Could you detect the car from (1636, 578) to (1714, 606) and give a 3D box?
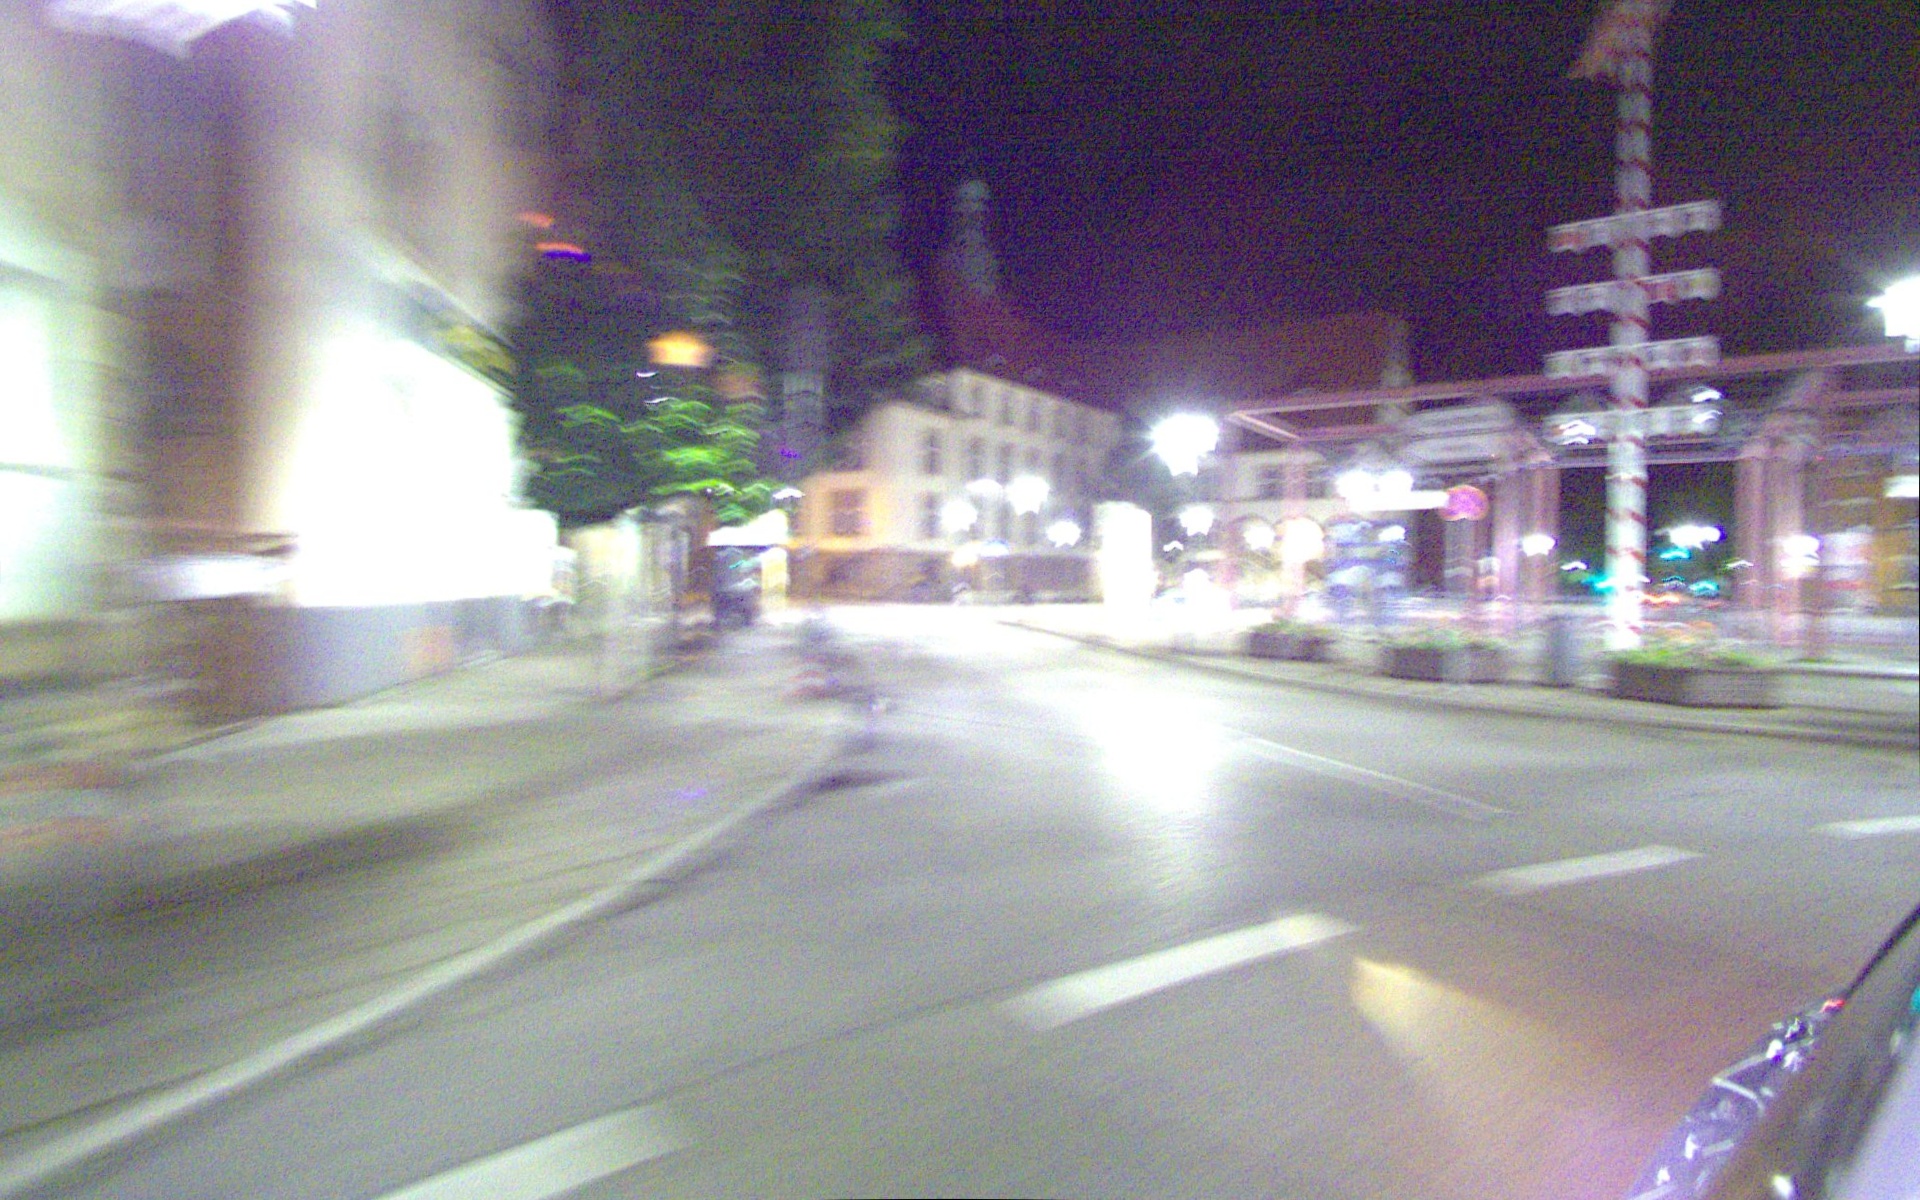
[{"bbox_3d":[50.781,-0.591,71.963,4.141,1.905,1.817,1,1,24],"label":"car"}]

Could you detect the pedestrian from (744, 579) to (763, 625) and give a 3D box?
[{"bbox_3d":[-5.990,0.065,29.368,0.504,1.315,0.467,0,1,-8],"label":"pedestrian"}]

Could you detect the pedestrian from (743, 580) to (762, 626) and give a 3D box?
[{"bbox_3d":[-5.930,0.076,28.895,0.504,1.315,0.467,0,1,-8],"label":"pedestrian"}]
